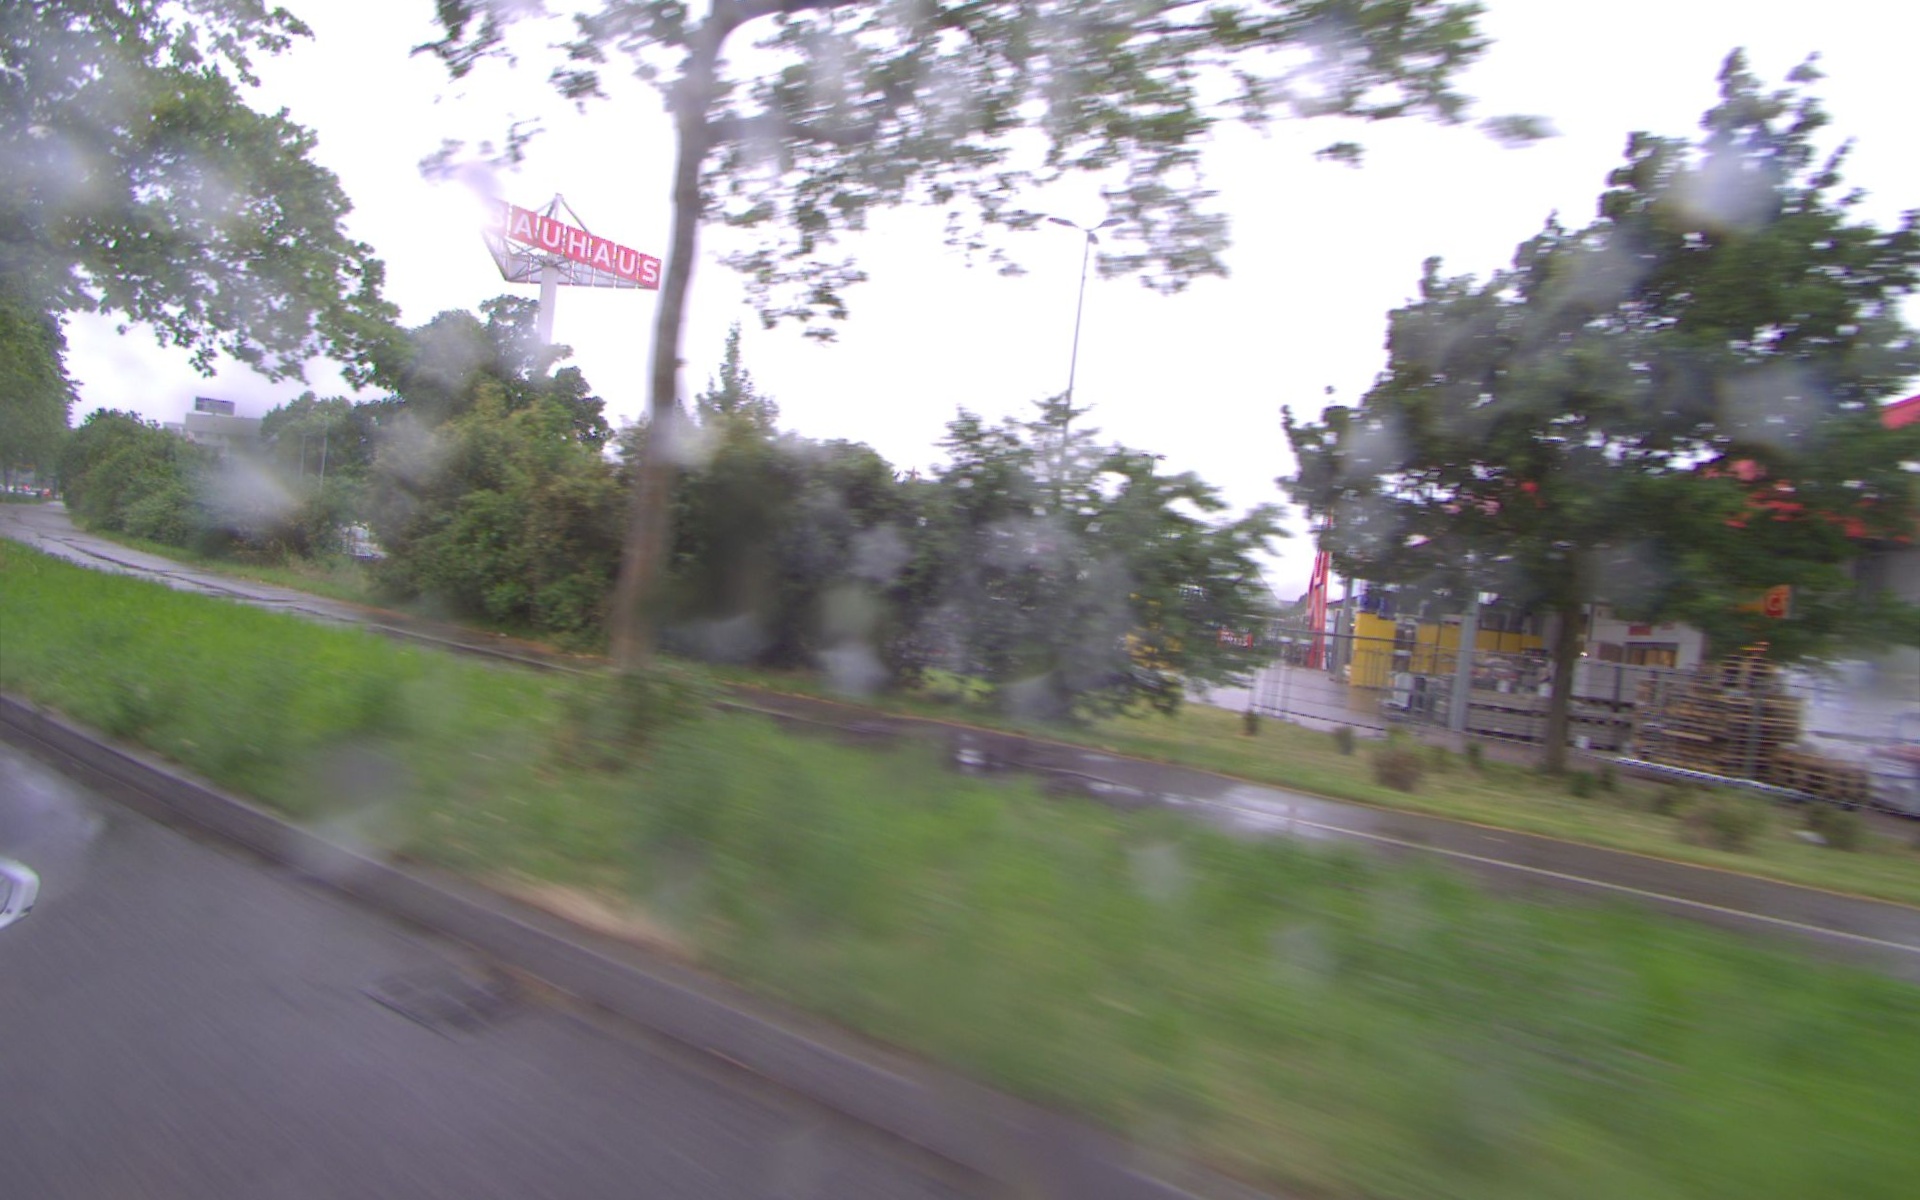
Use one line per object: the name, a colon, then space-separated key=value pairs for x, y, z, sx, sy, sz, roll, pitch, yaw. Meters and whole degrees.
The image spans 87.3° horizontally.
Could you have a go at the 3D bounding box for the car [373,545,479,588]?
car: x=-23.341 y=-1.435 z=44.154 sx=1.721 sy=1.387 sz=4.298 roll=7 pitch=-1 yaw=10
